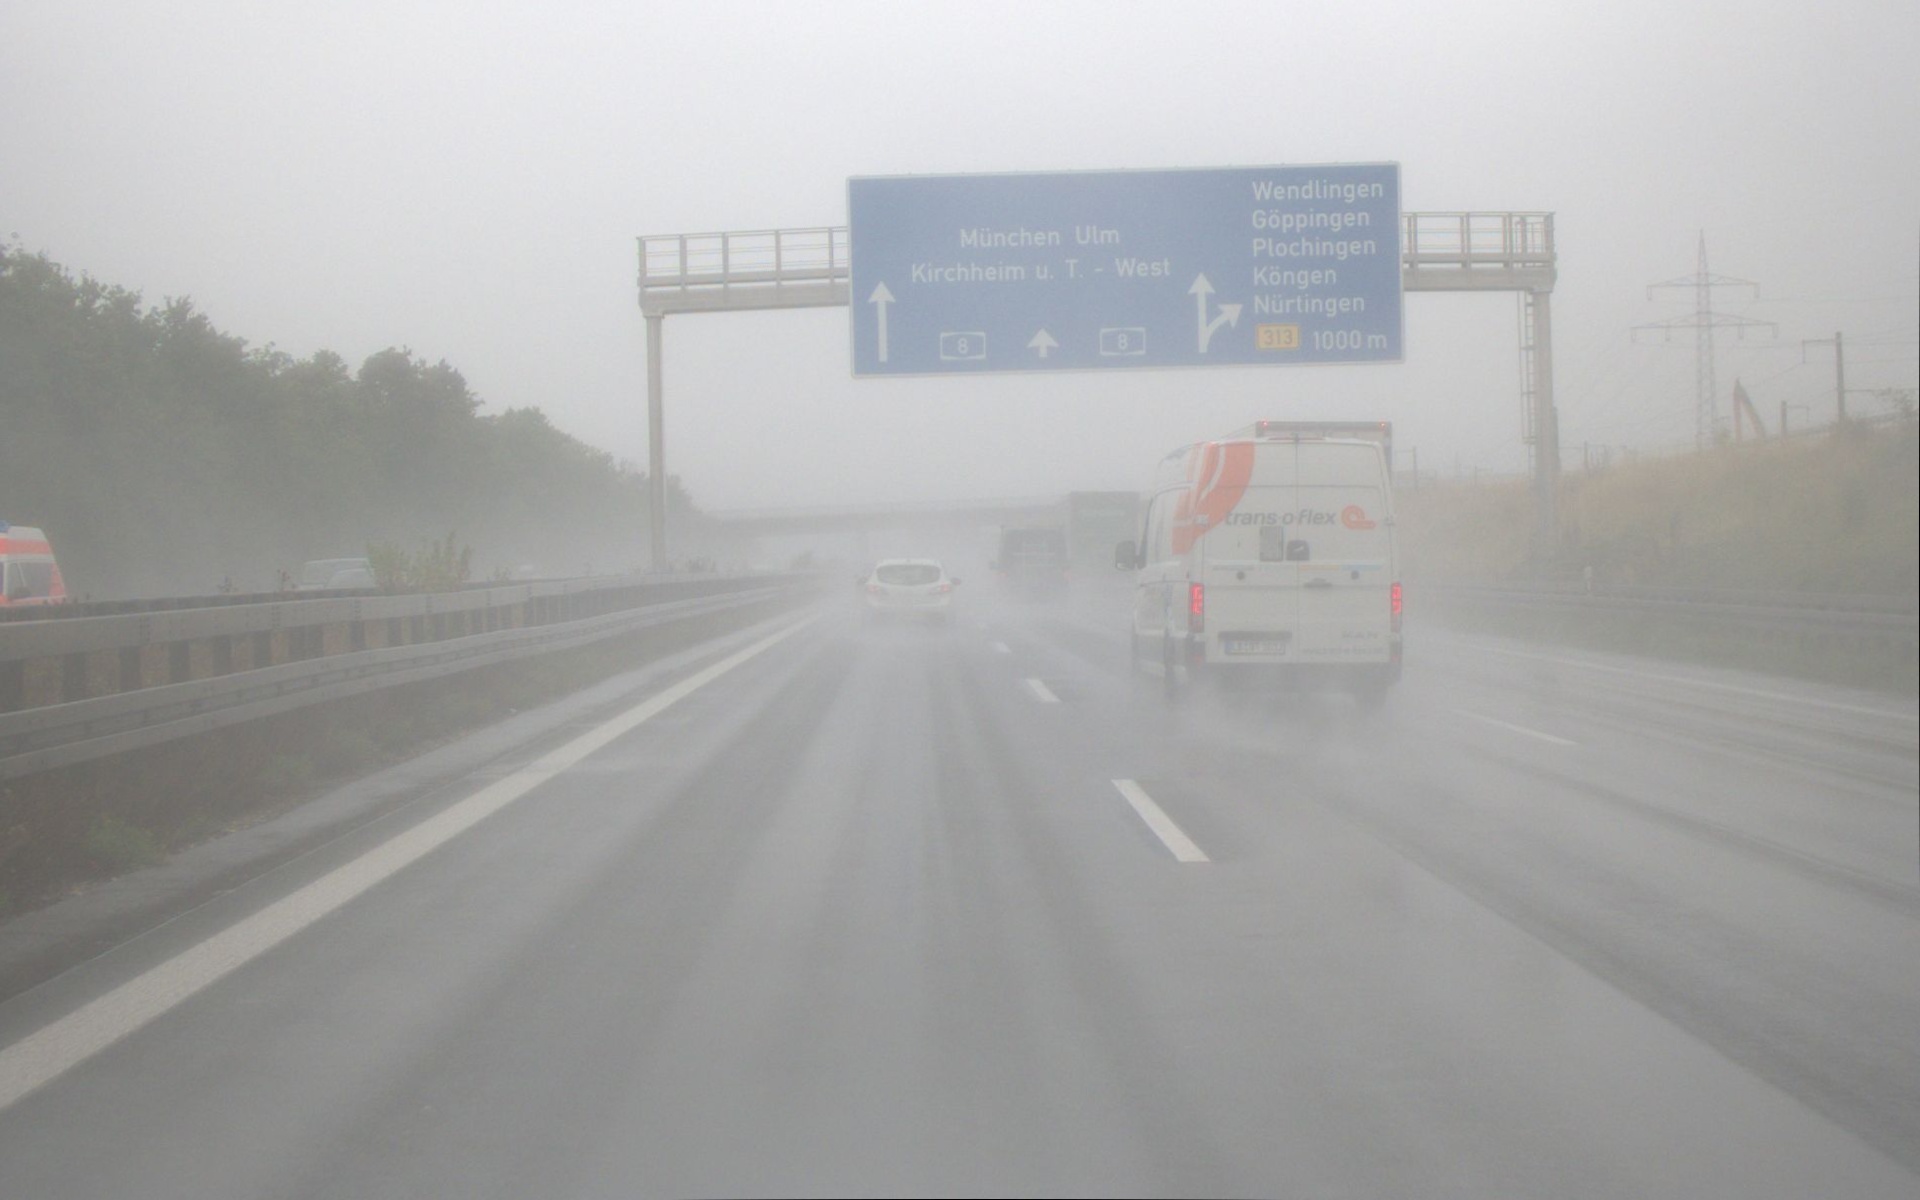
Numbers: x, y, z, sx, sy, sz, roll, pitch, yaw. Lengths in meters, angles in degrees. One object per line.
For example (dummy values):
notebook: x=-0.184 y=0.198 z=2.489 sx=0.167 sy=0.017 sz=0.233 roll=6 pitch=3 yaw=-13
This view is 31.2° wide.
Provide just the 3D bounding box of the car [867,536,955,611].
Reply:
car: x=-0.931 y=-0.527 z=65.190 sx=1.605 sy=1.333 sz=3.849 roll=0 pitch=2 yaw=-1

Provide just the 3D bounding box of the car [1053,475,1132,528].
car: x=5.067 y=-3.789 z=132.295 sx=2.788 sy=2.006 sz=4.993 roll=0 pitch=2 yaw=-1

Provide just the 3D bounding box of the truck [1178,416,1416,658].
truck: x=6.922 y=-1.294 z=73.521 sx=3.039 sy=4.572 sz=16.352 roll=0 pitch=1 yaw=-1

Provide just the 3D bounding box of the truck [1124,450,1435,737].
truck: x=2.915 y=-0.133 z=32.740 sx=2.419 sy=2.484 sz=5.560 roll=0 pitch=2 yaw=0

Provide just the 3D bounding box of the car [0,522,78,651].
car: x=-15.956 y=-0.266 z=56.061 sx=1.993 sy=1.978 sz=5.015 roll=0 pitch=2 yaw=-2
